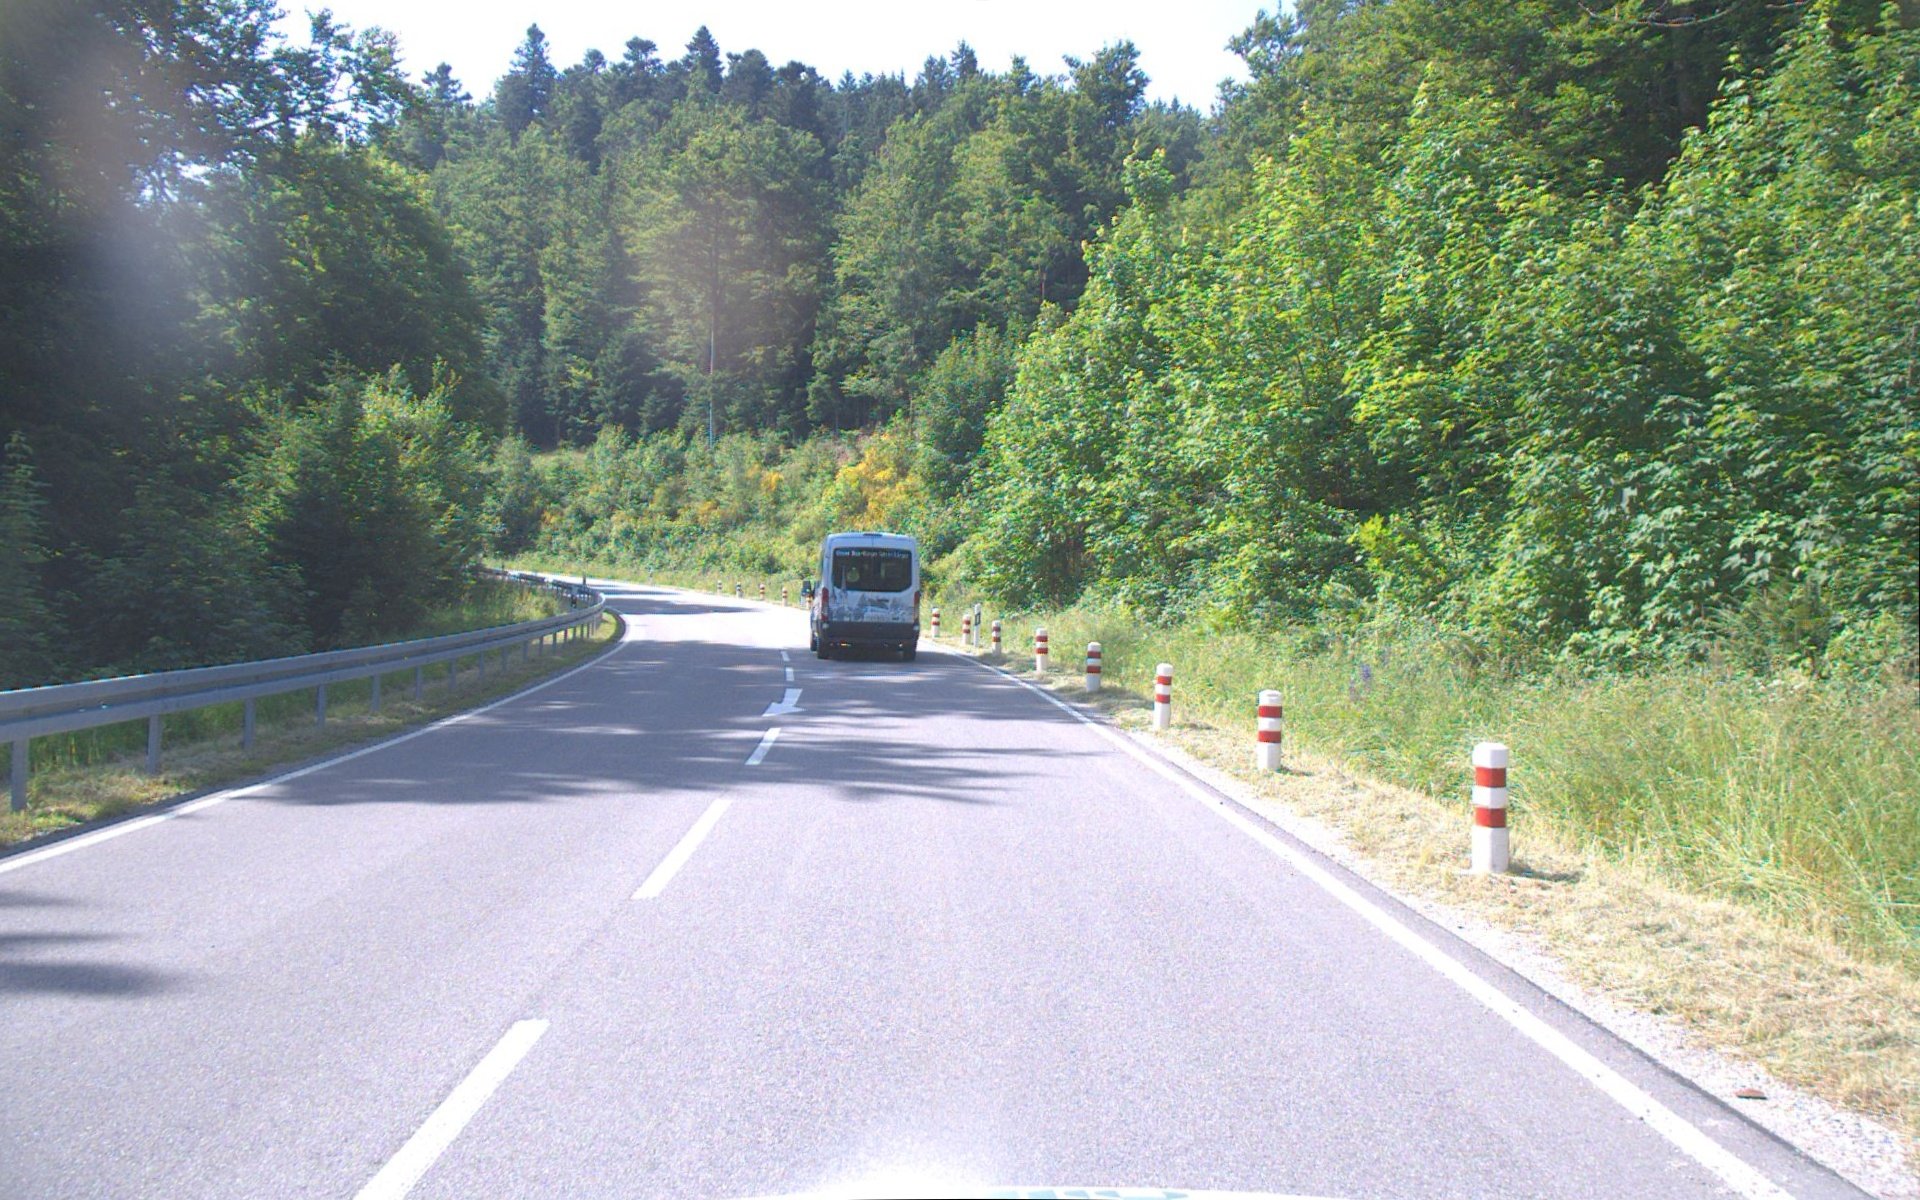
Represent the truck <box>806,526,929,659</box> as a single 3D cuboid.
[{"bbox_3d":[-2.019,-0.171,34.420,2.076,2.542,5.350,1,1,-8],"label":"truck"}]
